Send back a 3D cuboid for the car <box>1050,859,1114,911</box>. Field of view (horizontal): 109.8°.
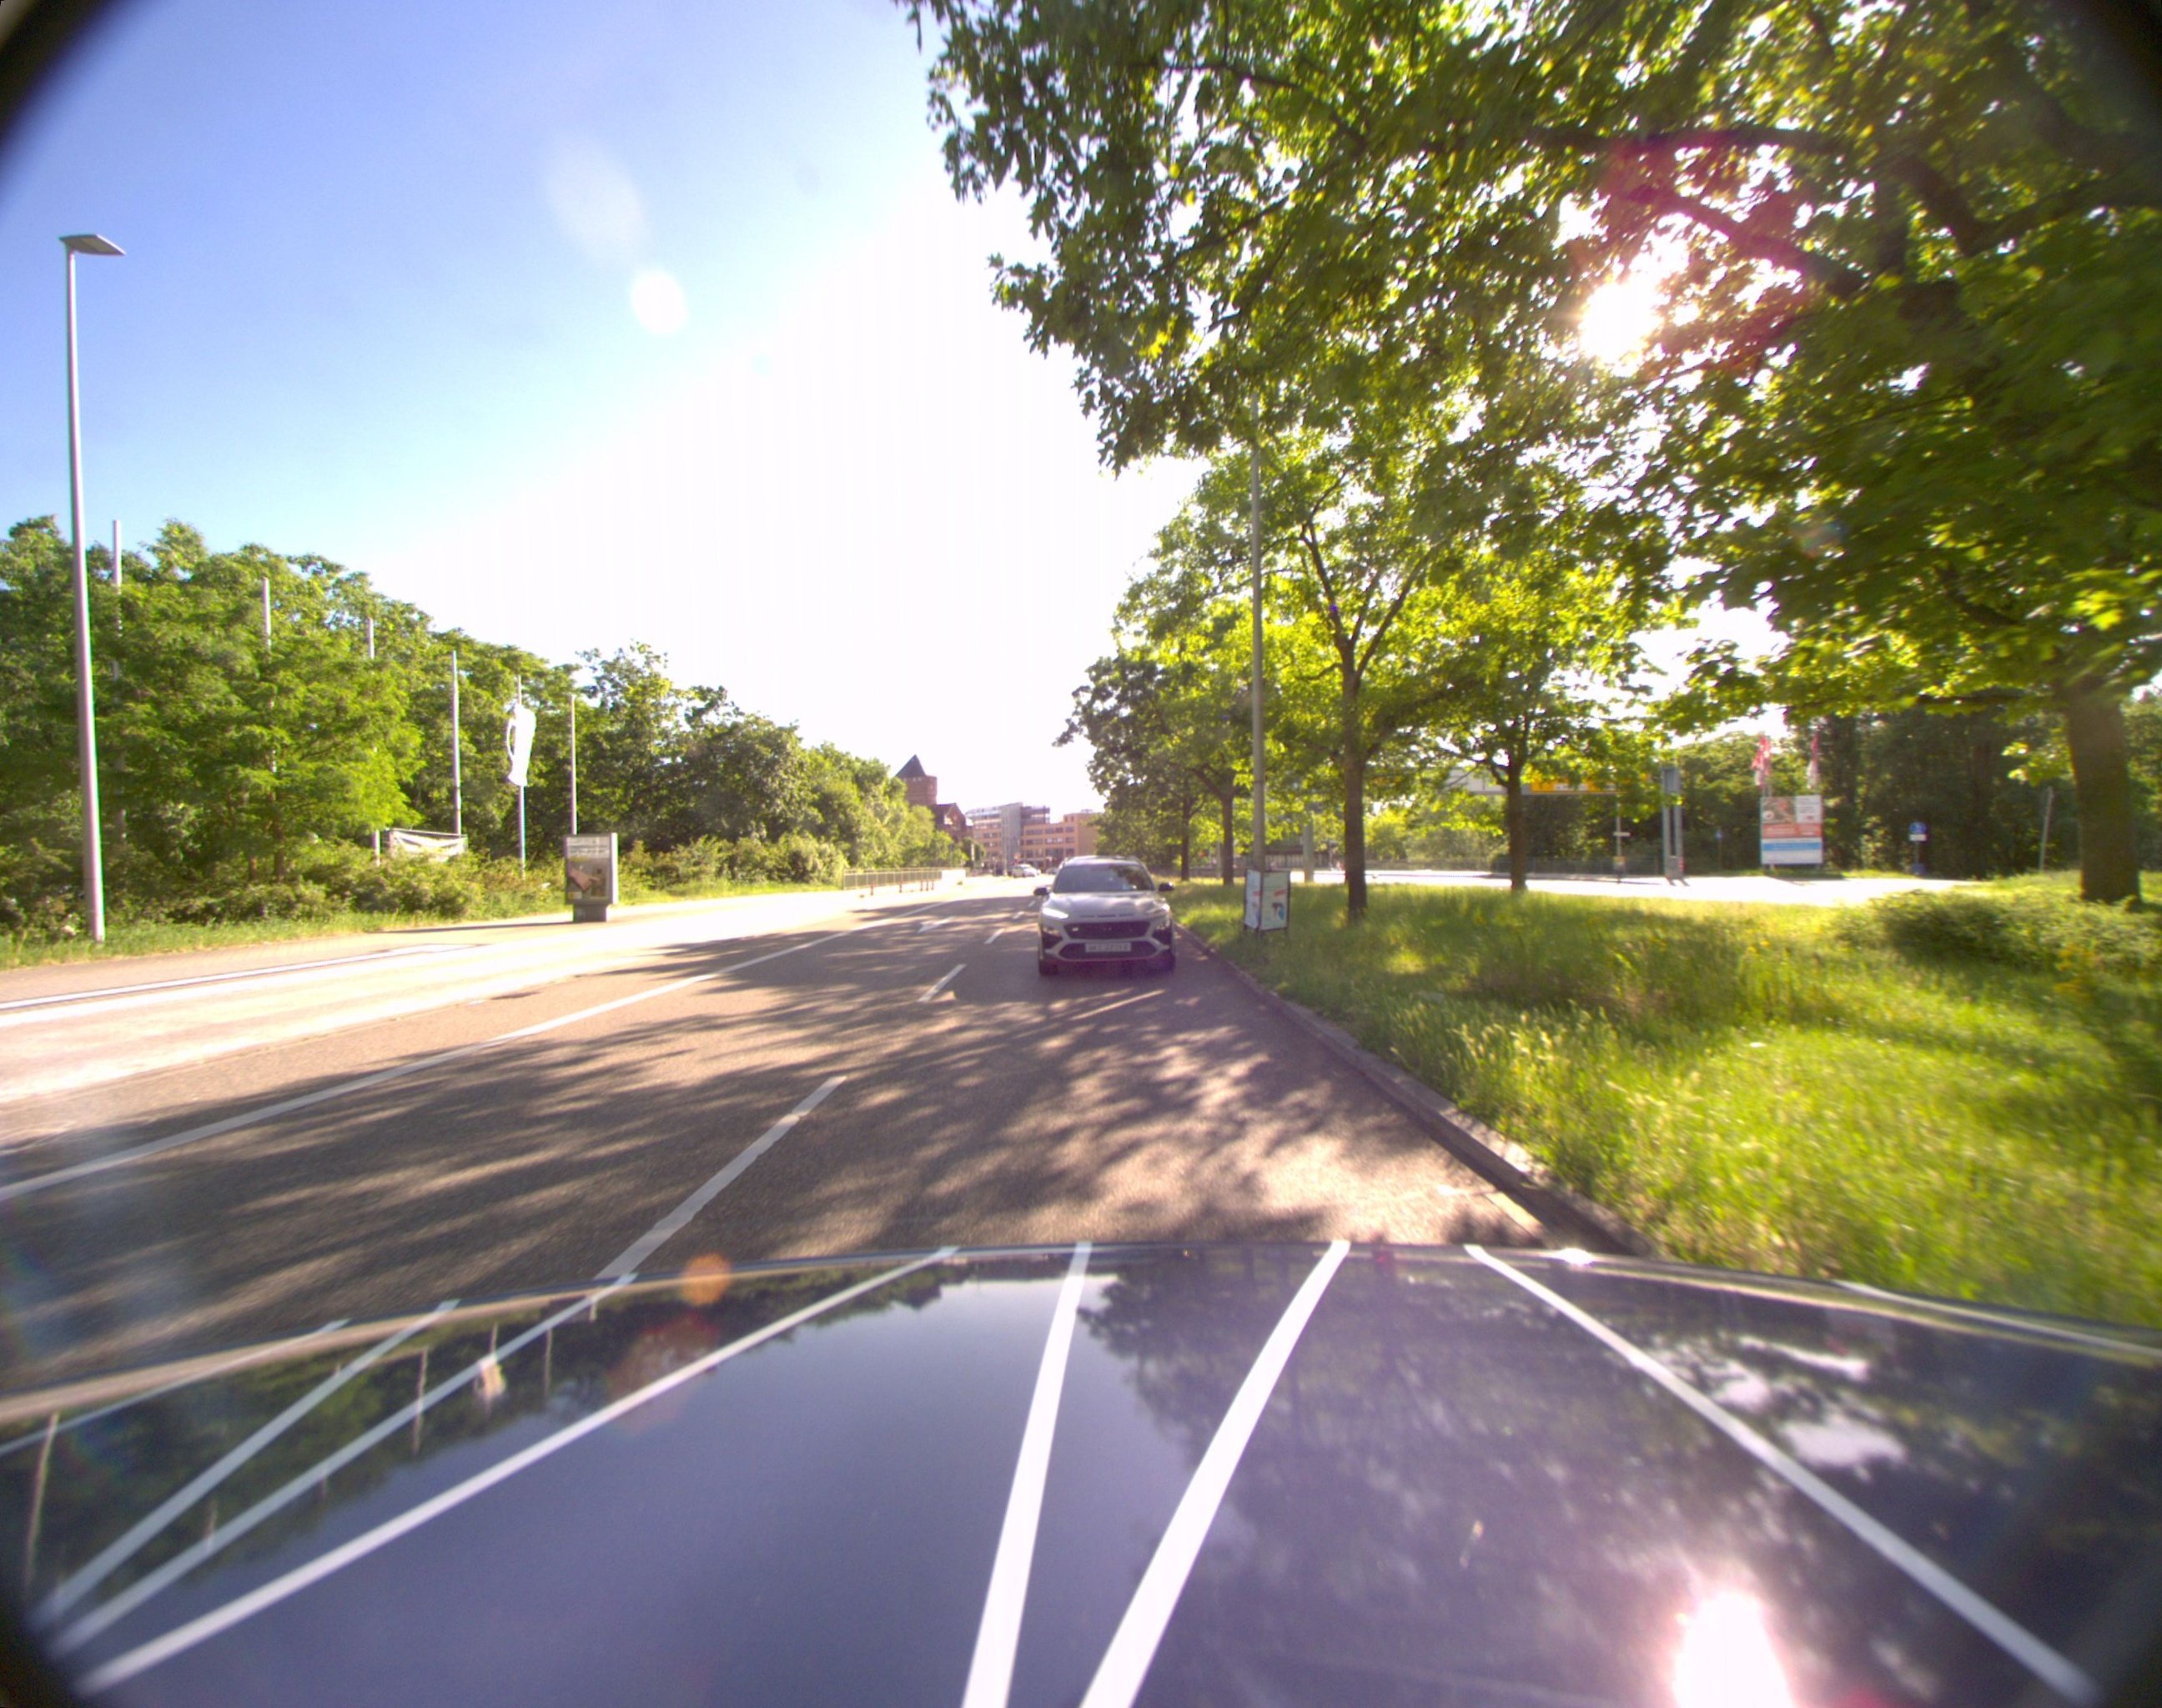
[{"bbox_3d":[0.127,0.972,25.208,1.744,1.539,4.002,-1,0,5],"label":"car"}]

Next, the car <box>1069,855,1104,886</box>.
[{"bbox_3d":[0.310,0.915,43.110,1.833,1.637,4.000,-1,0,1],"label":"car"}]

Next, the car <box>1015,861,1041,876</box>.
[{"bbox_3d":[-7.326,2.026,104.770,1.750,1.537,3.994,3,-10,-35],"label":"car"}]

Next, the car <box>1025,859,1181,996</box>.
[{"bbox_3d":[0.263,0.870,10.822,1.780,1.542,3.980,-1,0,0],"label":"car"}]

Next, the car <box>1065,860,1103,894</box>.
[{"bbox_3d":[0.123,1.071,36.769,1.678,1.499,3.948,-2,0,0],"label":"car"}]
